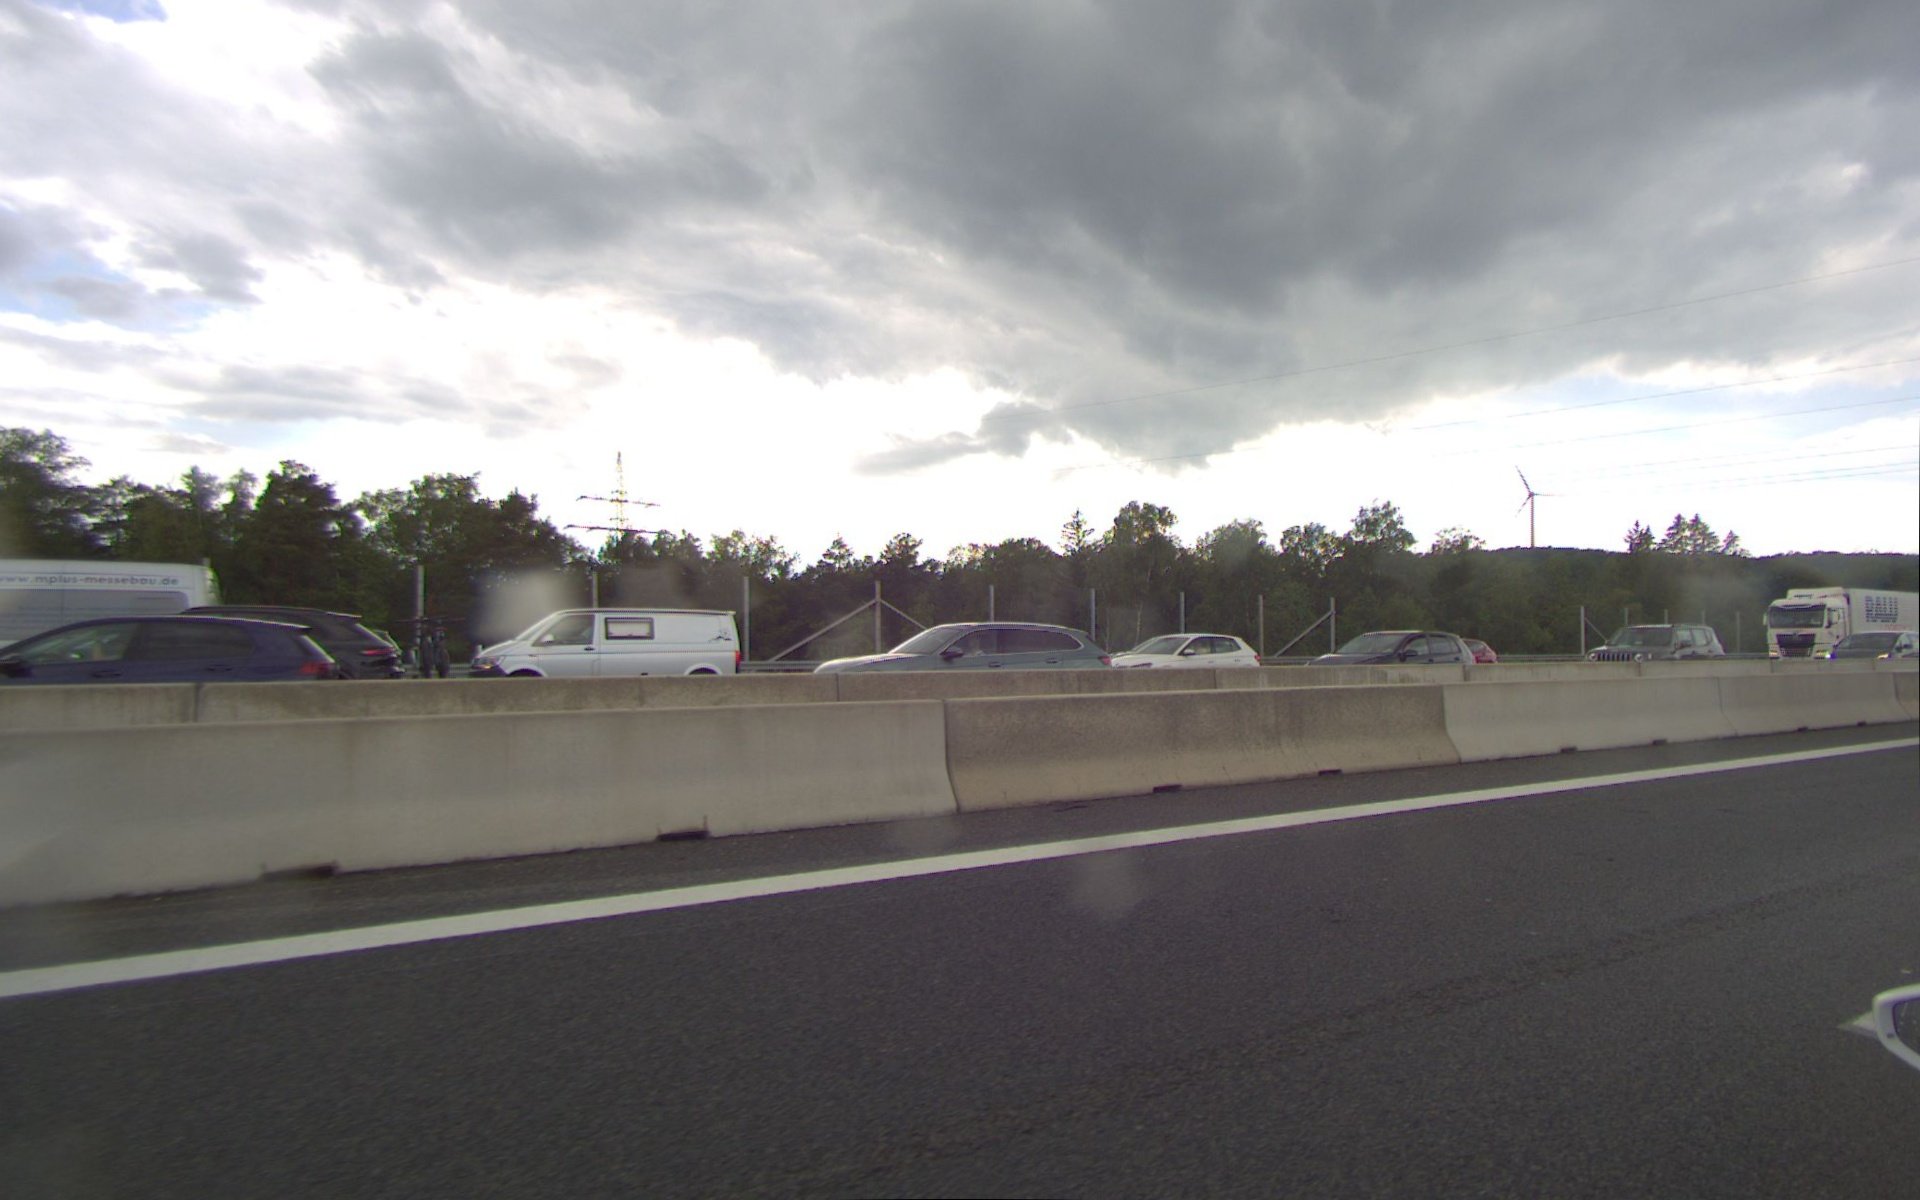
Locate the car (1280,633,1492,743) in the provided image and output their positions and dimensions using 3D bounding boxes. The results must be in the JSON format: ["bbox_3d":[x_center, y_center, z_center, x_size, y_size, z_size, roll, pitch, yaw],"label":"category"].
[{"bbox_3d":[8.809,1.715,20.755,3.953,1.963,2.106,1,0,-30],"label":"car"}]

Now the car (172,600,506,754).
[{"bbox_3d":[-8.983,1.029,14.873,3.953,1.979,1.884,1,0,-30],"label":"car"}]

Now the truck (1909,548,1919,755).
[{"bbox_3d":[14.985,0.653,12.837,7.275,2.440,2.340,1,0,-32],"label":"truck"}]

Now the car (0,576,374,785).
[{"bbox_3d":[-8.746,0.769,10.805,4.163,1.979,1.884,1,0,-30],"label":"car"}]

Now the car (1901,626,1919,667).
[{"bbox_3d":[38.468,1.793,38.745,5.021,1.497,1.841,1,0,-30],"label":"car"}]

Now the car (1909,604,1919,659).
[{"bbox_3d":[76.274,2.426,76.130,11.520,3.999,3.187,1,0,-30],"label":"car"}]

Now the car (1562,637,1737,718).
[{"bbox_3d":[17.517,1.884,25.456,4.651,1.783,1.861,1,0,-30],"label":"car"}]

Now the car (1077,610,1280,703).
[{"bbox_3d":[5.147,1.260,23.578,4.374,1.963,2.106,1,0,-30],"label":"car"}]

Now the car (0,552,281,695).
[{"bbox_3d":[-15.030,0.357,16.236,6.540,2.178,2.106,1,0,-30],"label":"car"}]

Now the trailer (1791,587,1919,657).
[{"bbox_3d":[48.929,1.162,53.786,11.638,3.479,3.010,1,0,-30],"label":"trailer"}]

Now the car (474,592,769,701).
[{"bbox_3d":[-6.816,0.861,20.394,5.375,1.963,2.106,1,0,-30],"label":"car"}]

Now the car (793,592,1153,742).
[{"bbox_3d":[0.273,0.902,15.319,5.153,1.963,2.106,1,0,-30],"label":"car"}]

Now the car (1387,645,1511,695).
[{"bbox_3d":[16.676,2.342,34.231,4.092,1.477,1.861,1,0,-30],"label":"car"}]

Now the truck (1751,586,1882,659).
[{"bbox_3d":[42.843,1.080,50.198,6.451,3.451,3.029,1,0,-30],"label":"truck"}]

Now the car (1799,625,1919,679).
[{"bbox_3d":[30.159,1.674,33.460,4.788,1.645,1.885,1,0,-30],"label":"car"}]
